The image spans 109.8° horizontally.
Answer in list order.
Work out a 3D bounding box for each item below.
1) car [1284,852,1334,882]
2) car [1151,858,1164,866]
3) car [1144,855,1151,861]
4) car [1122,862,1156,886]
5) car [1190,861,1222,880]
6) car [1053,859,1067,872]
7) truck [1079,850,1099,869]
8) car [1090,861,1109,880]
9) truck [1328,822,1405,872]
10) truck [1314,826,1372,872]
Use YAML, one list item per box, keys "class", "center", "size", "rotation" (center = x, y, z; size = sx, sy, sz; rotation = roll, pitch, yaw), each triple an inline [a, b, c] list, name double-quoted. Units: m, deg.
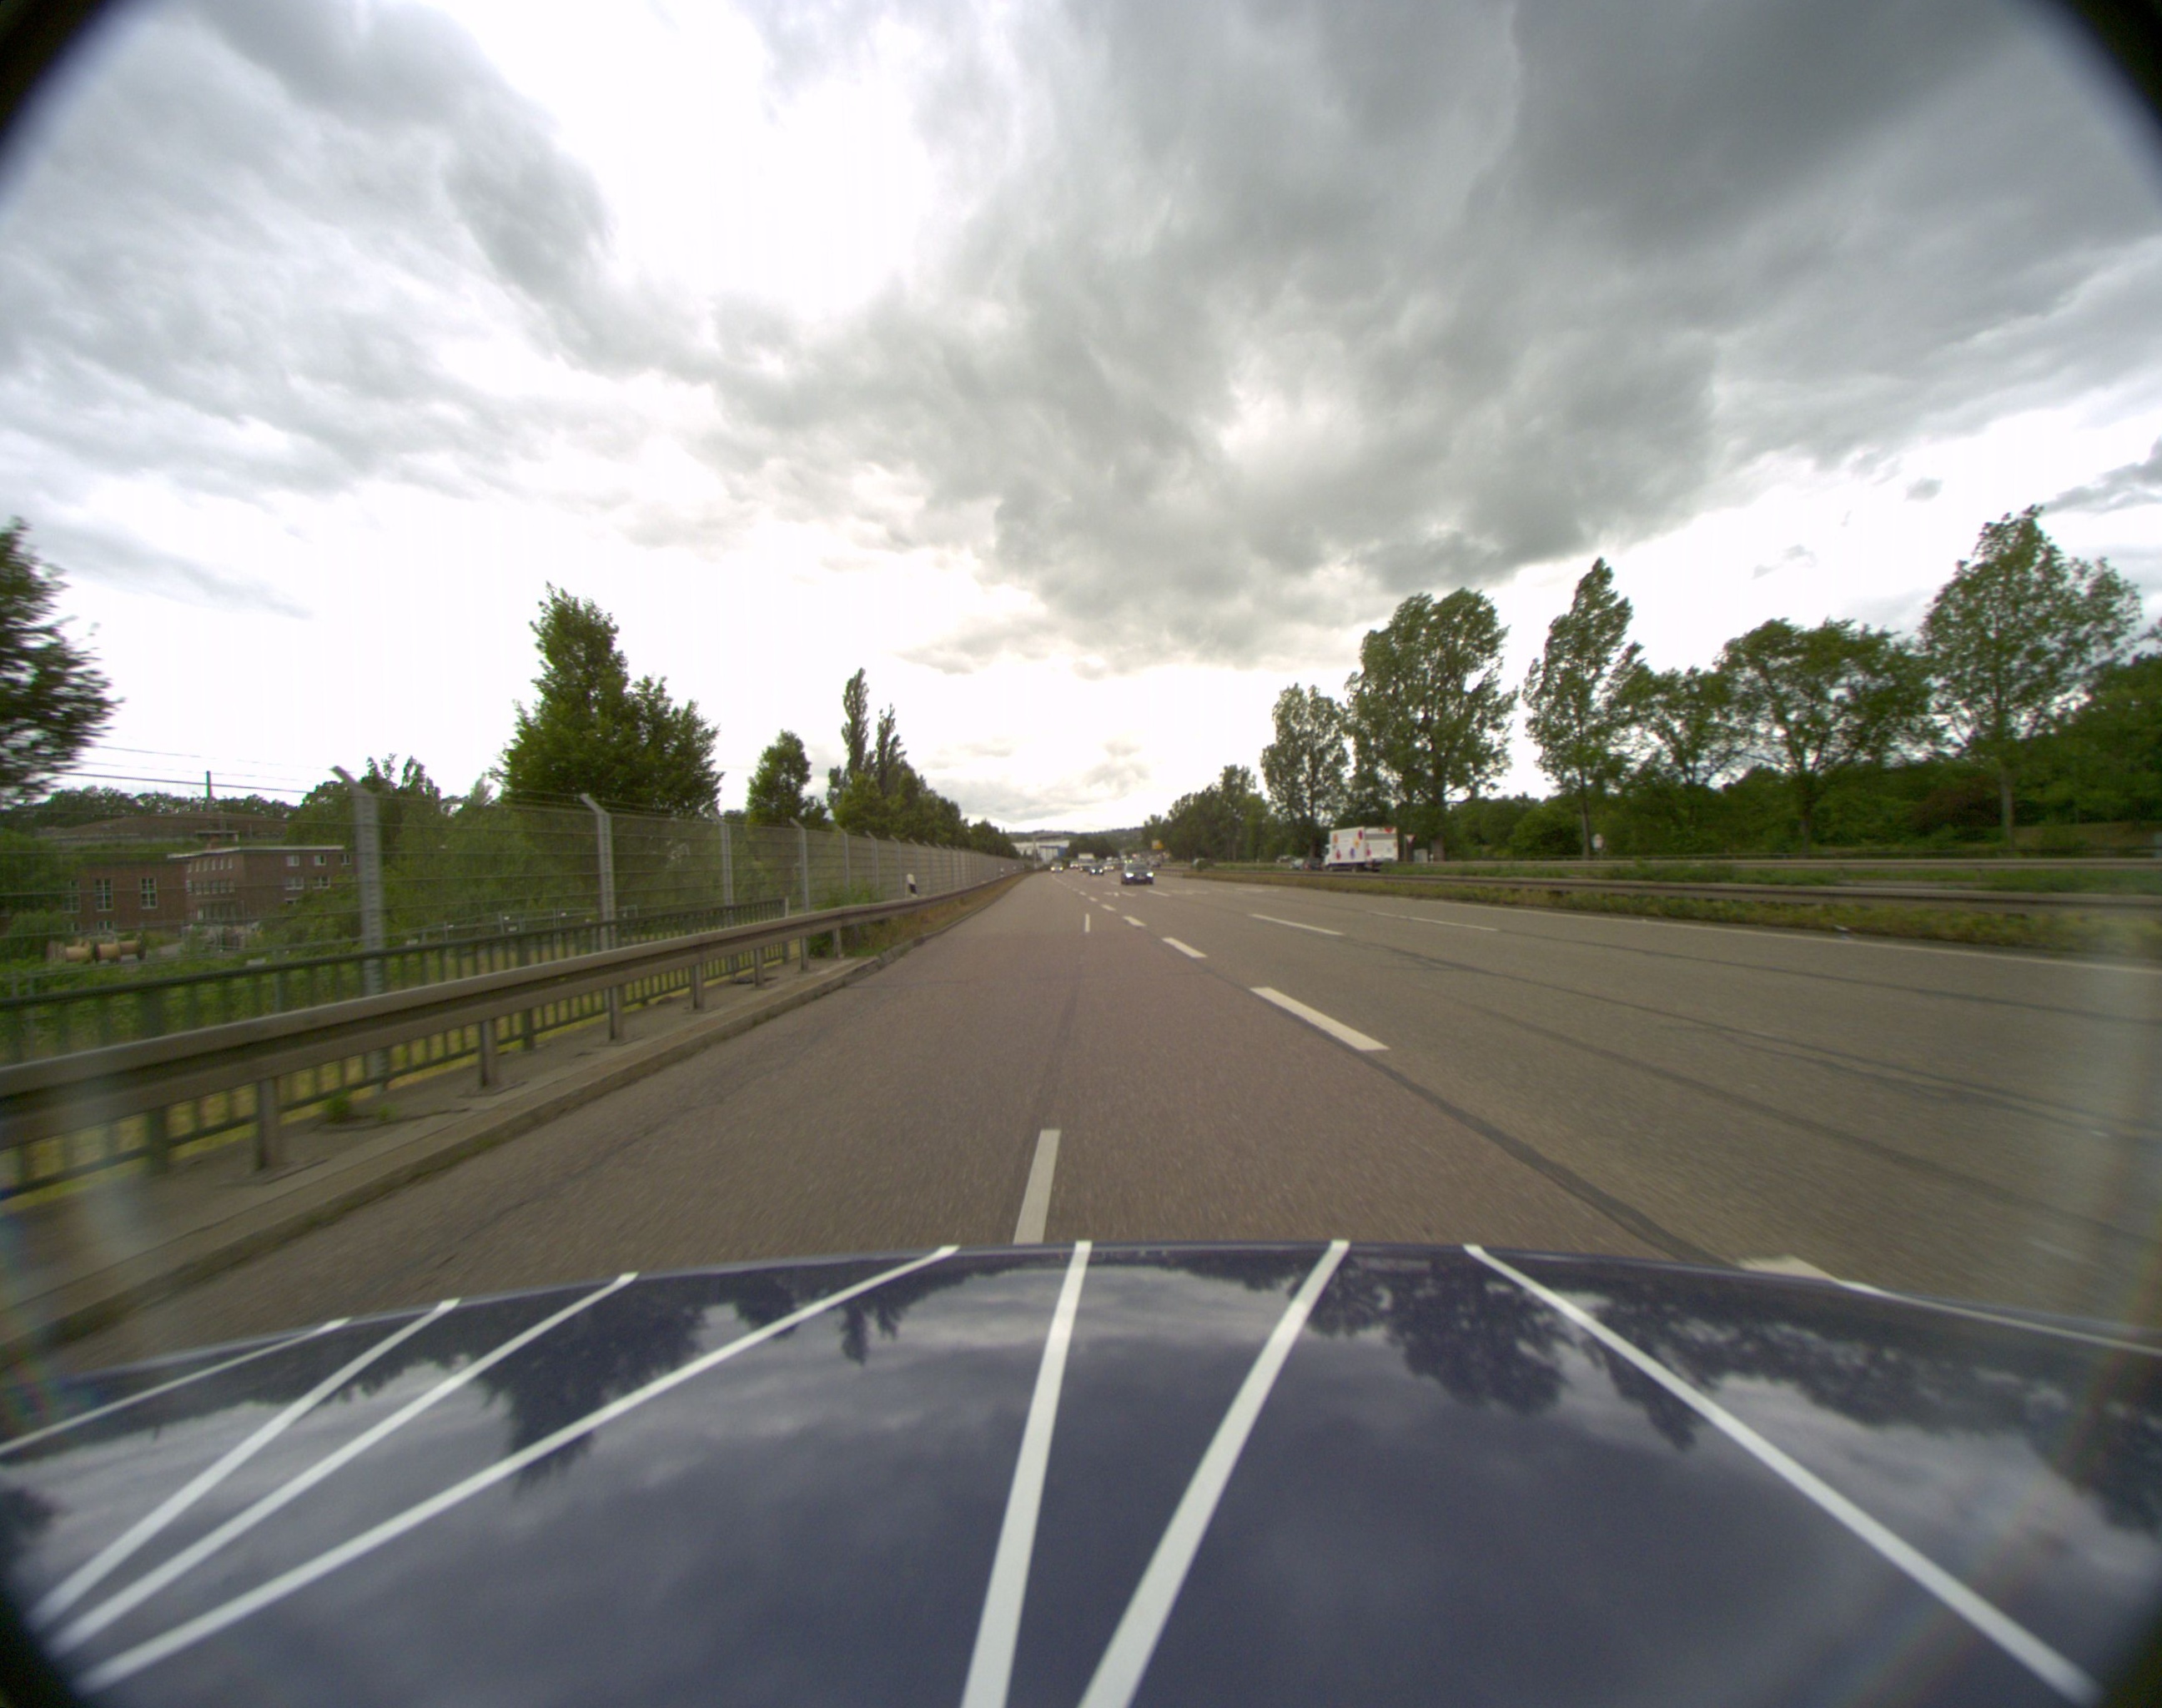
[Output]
- class: "car"
  center: [16.942, 0.984, 56.645]
  size: [2.000, 2.001, 3.998]
  rotation: [-4, -1, -7]
- class: "car"
  center: [17.563, 1.827, 174.960]
  size: [1.999, 1.599, 4.649]
  rotation: [-4, -1, -5]
- class: "car"
  center: [21.962, 1.351, 249.577]
  size: [1.997, 2.001, 5.225]
  rotation: [-4, -1, 7]
- class: "car"
  center: [3.737, 1.294, 49.612]
  size: [1.940, 1.492, 4.305]
  rotation: [-1, -1, 2]
- class: "car"
  center: [12.686, 1.703, 77.468]
  size: [1.851, 1.720, 5.524]
  rotation: [-4, -1, -5]
- class: "car"
  center: [-3.467, 1.853, 127.775]
  size: [1.998, 2.002, 4.000]
  rotation: [-4, 0, 2]
- class: "truck"
  center: [1.402, 0.916, 133.290]
  size: [3.040, 3.140, 7.566]
  rotation: [-1, 0, -2]
- class: "car"
  center: [2.197, 1.956, 89.210]
  size: [1.998, 2.001, 4.001]
  rotation: [-3, -1, 2]
- class: "truck"
  center: [22.895, -0.478, 61.285]
  size: [2.992, 3.622, 6.334]
  rotation: [-4, -1, -7]
- class: "truck"
  center: [22.417, -0.411, 65.132]
  size: [2.993, 3.621, 3.998]
  rotation: [-4, 0, -7]
